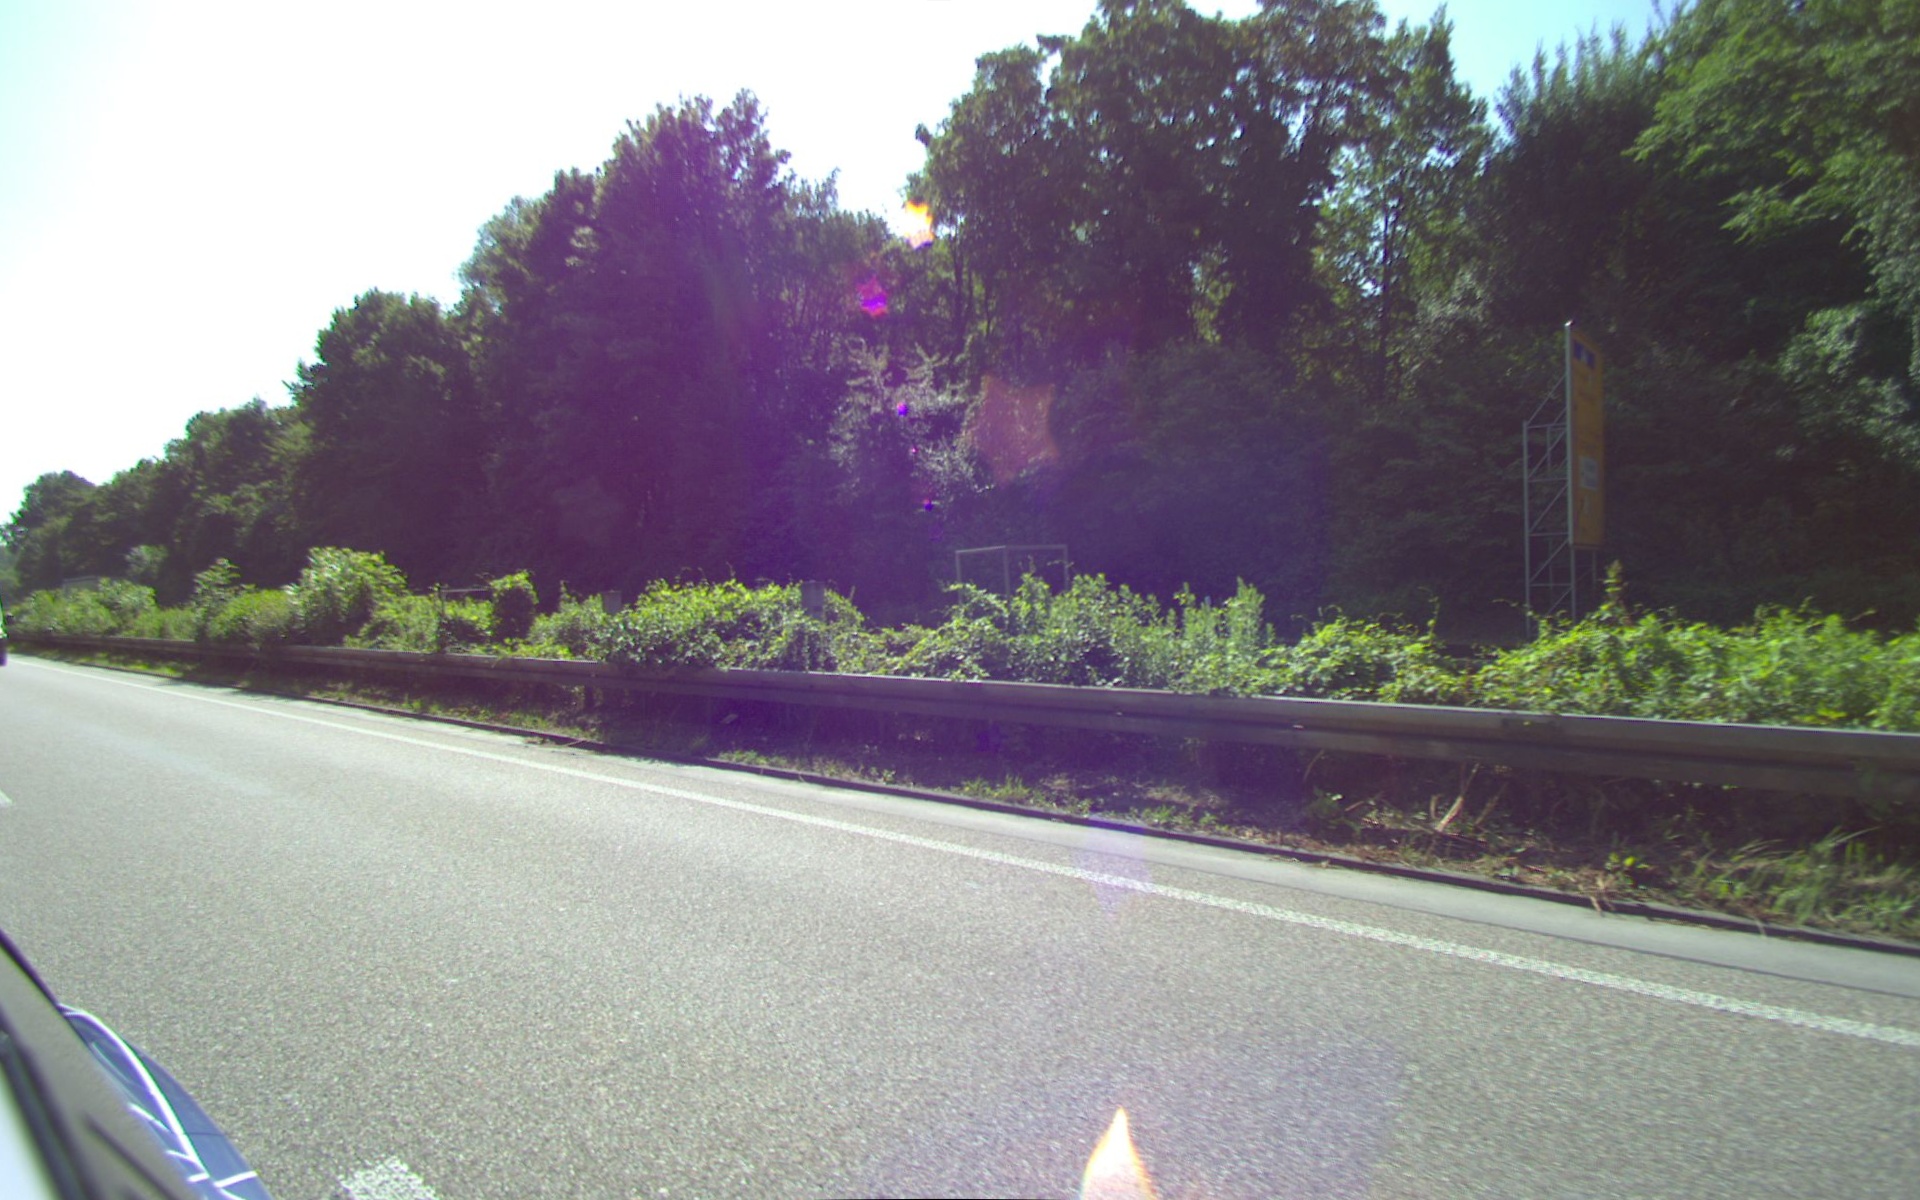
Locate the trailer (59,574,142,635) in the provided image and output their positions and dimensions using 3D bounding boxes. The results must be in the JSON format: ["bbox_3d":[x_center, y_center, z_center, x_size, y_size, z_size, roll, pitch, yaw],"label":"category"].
[{"bbox_3d":[-65.345,0.363,76.773,13.657,4.332,2.799,-1,0,41],"label":"trailer"}]

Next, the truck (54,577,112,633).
[{"bbox_3d":[-70.406,0.422,81.204,6.534,4.276,2.689,-1,0,41],"label":"truck"}]

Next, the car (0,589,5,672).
[{"bbox_3d":[-30.728,0.933,30.773,4.635,2.462,2.020,-1,0,41],"label":"car"}]
